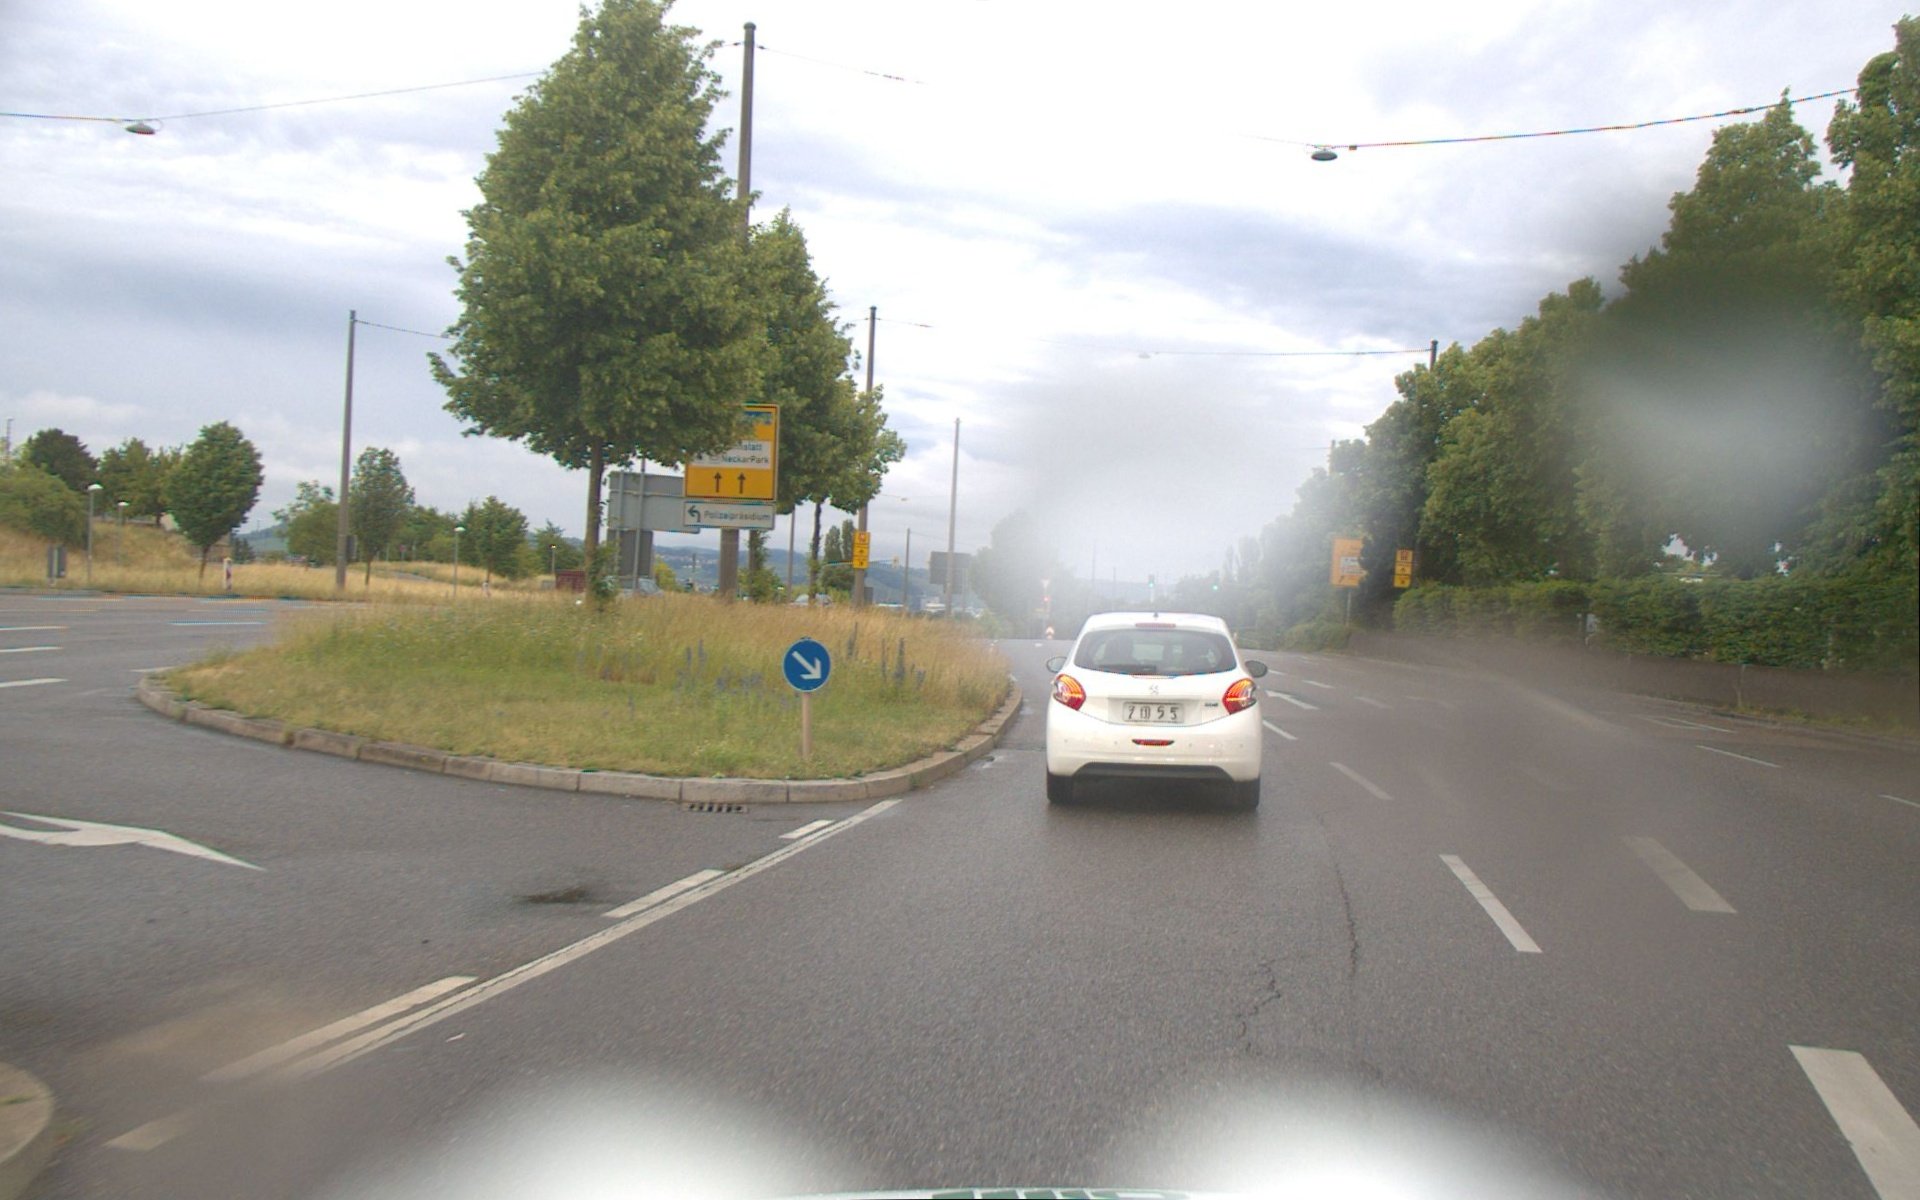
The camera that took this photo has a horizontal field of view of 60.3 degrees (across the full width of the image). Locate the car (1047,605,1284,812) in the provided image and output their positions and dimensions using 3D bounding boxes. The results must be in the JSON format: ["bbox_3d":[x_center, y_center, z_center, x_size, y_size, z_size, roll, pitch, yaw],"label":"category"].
[{"bbox_3d":[1.592,0.801,13.858,1.673,1.465,3.691,1,-1,3],"label":"car"}]

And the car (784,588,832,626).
[{"bbox_3d":[-7.579,0.357,82.636,1.730,1.780,4.002,2,0,4],"label":"car"}]

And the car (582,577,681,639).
[{"bbox_3d":[-9.702,0.217,49.147,1.839,1.682,4.358,2,0,2],"label":"car"}]
